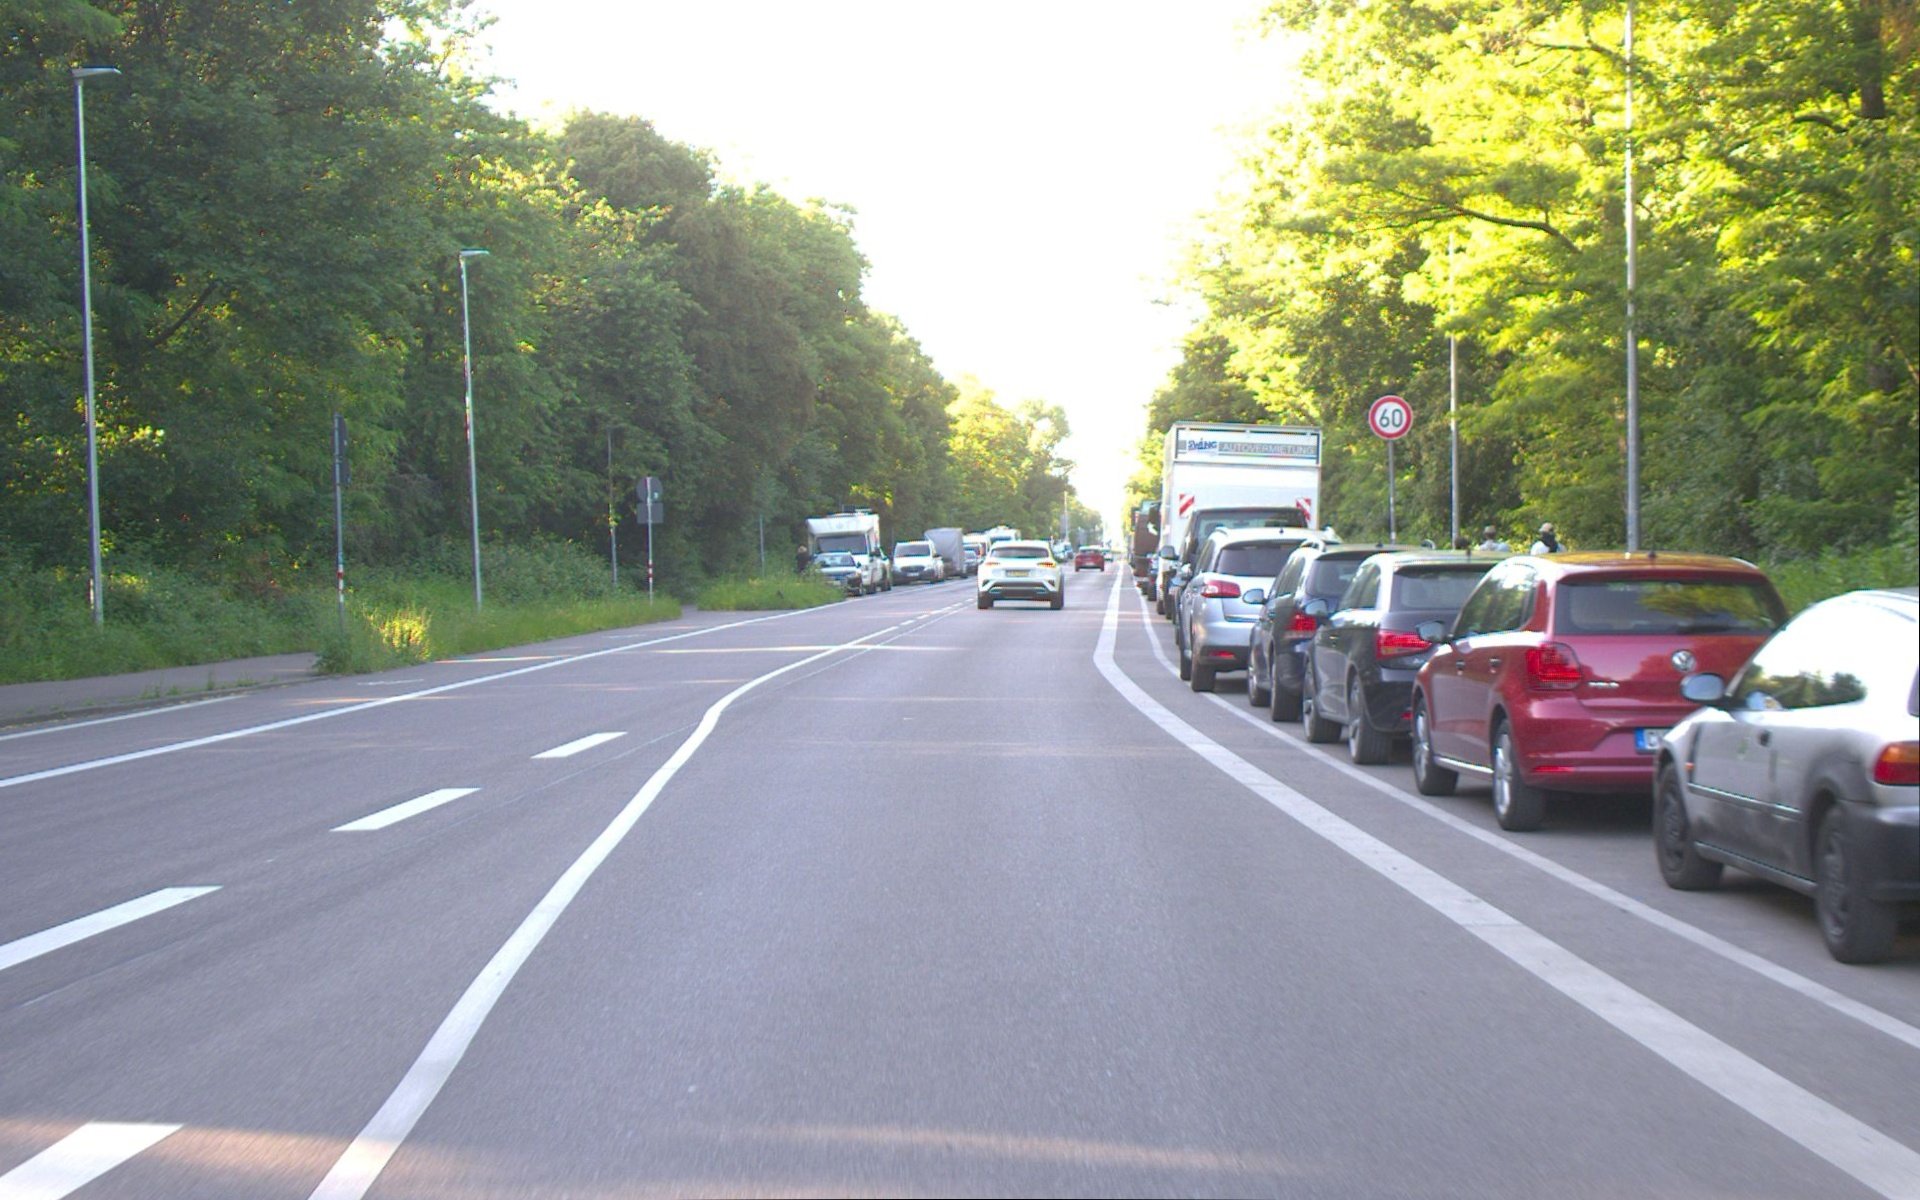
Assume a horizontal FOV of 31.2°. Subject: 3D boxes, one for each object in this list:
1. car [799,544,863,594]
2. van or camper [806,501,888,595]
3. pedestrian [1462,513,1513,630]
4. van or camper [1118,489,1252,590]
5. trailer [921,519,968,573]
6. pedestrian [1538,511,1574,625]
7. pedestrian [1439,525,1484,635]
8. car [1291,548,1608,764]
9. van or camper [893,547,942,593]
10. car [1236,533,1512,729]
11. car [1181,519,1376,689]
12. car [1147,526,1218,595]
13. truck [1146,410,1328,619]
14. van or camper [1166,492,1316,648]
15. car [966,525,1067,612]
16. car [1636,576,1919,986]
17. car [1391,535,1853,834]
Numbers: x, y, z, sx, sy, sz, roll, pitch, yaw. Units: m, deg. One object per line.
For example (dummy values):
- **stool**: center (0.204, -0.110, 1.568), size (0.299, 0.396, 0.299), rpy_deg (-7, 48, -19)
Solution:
- **car**: center (-4.063, -1.003, 108.993), size (1.827, 1.471, 4.681), rpy_deg (-2, 1, 0)
- **van or camper**: center (-3.788, -1.754, 116.578), size (2.314, 2.960, 7.111), rpy_deg (-3, 1, 1)
- **pedestrian**: center (8.072, -0.445, 52.633), size (0.618, 1.758, 0.906), rpy_deg (-2, 1, 2)
- **van or camper**: center (6.598, -1.780, 99.877), size (2.443, 2.790, 6.552), rpy_deg (-1, 1, 16)
- **trailer**: center (-0.784, -2.710, 173.446), size (1.994, 2.588, 4.415), rpy_deg (-3, 1, 3)
- **pedestrian**: center (8.356, -0.447, 48.211), size (0.394, 1.582, 0.482), rpy_deg (-2, 1, 2)
- **pedestrian**: center (7.319, -0.295, 50.179), size (0.563, 1.582, 0.482), rpy_deg (-2, 1, 2)
- **car**: center (3.365, 0.336, 24.245), size (1.594, 1.396, 3.799), rpy_deg (0, 1, -2)
- **van or camper**: center (-1.841, -1.348, 150.369), size (1.836, 1.905, 4.856), rpy_deg (-2, 1, 2)
- **car**: center (3.437, 0.199, 29.315), size (1.807, 1.514, 4.504), rpy_deg (1, 1, 0)
- **car**: center (3.179, -0.003, 34.954), size (1.799, 1.589, 4.029), rpy_deg (-1, 1, 3)
- **car**: center (5.629, -1.013, 86.768), size (1.712, 1.659, 4.551), rpy_deg (1, 1, 4)
- **truck**: center (4.938, -1.533, 62.786), size (2.832, 3.485, 8.578), rpy_deg (-1, 1, 2)
- **van or camper**: center (3.821, -0.435, 47.398), size (1.898, 2.007, 4.586), rpy_deg (-1, 1, 3)
- **car**: center (1.270, -0.714, 75.516), size (2.029, 1.834, 4.029), rpy_deg (-1, 1, 3)
- **car**: center (3.845, 0.591, 13.378), size (1.628, 1.315, 3.841), rpy_deg (0, 1, -1)
- **car**: center (3.522, 0.386, 18.921), size (1.616, 1.464, 3.725), rpy_deg (1, 1, -3)
